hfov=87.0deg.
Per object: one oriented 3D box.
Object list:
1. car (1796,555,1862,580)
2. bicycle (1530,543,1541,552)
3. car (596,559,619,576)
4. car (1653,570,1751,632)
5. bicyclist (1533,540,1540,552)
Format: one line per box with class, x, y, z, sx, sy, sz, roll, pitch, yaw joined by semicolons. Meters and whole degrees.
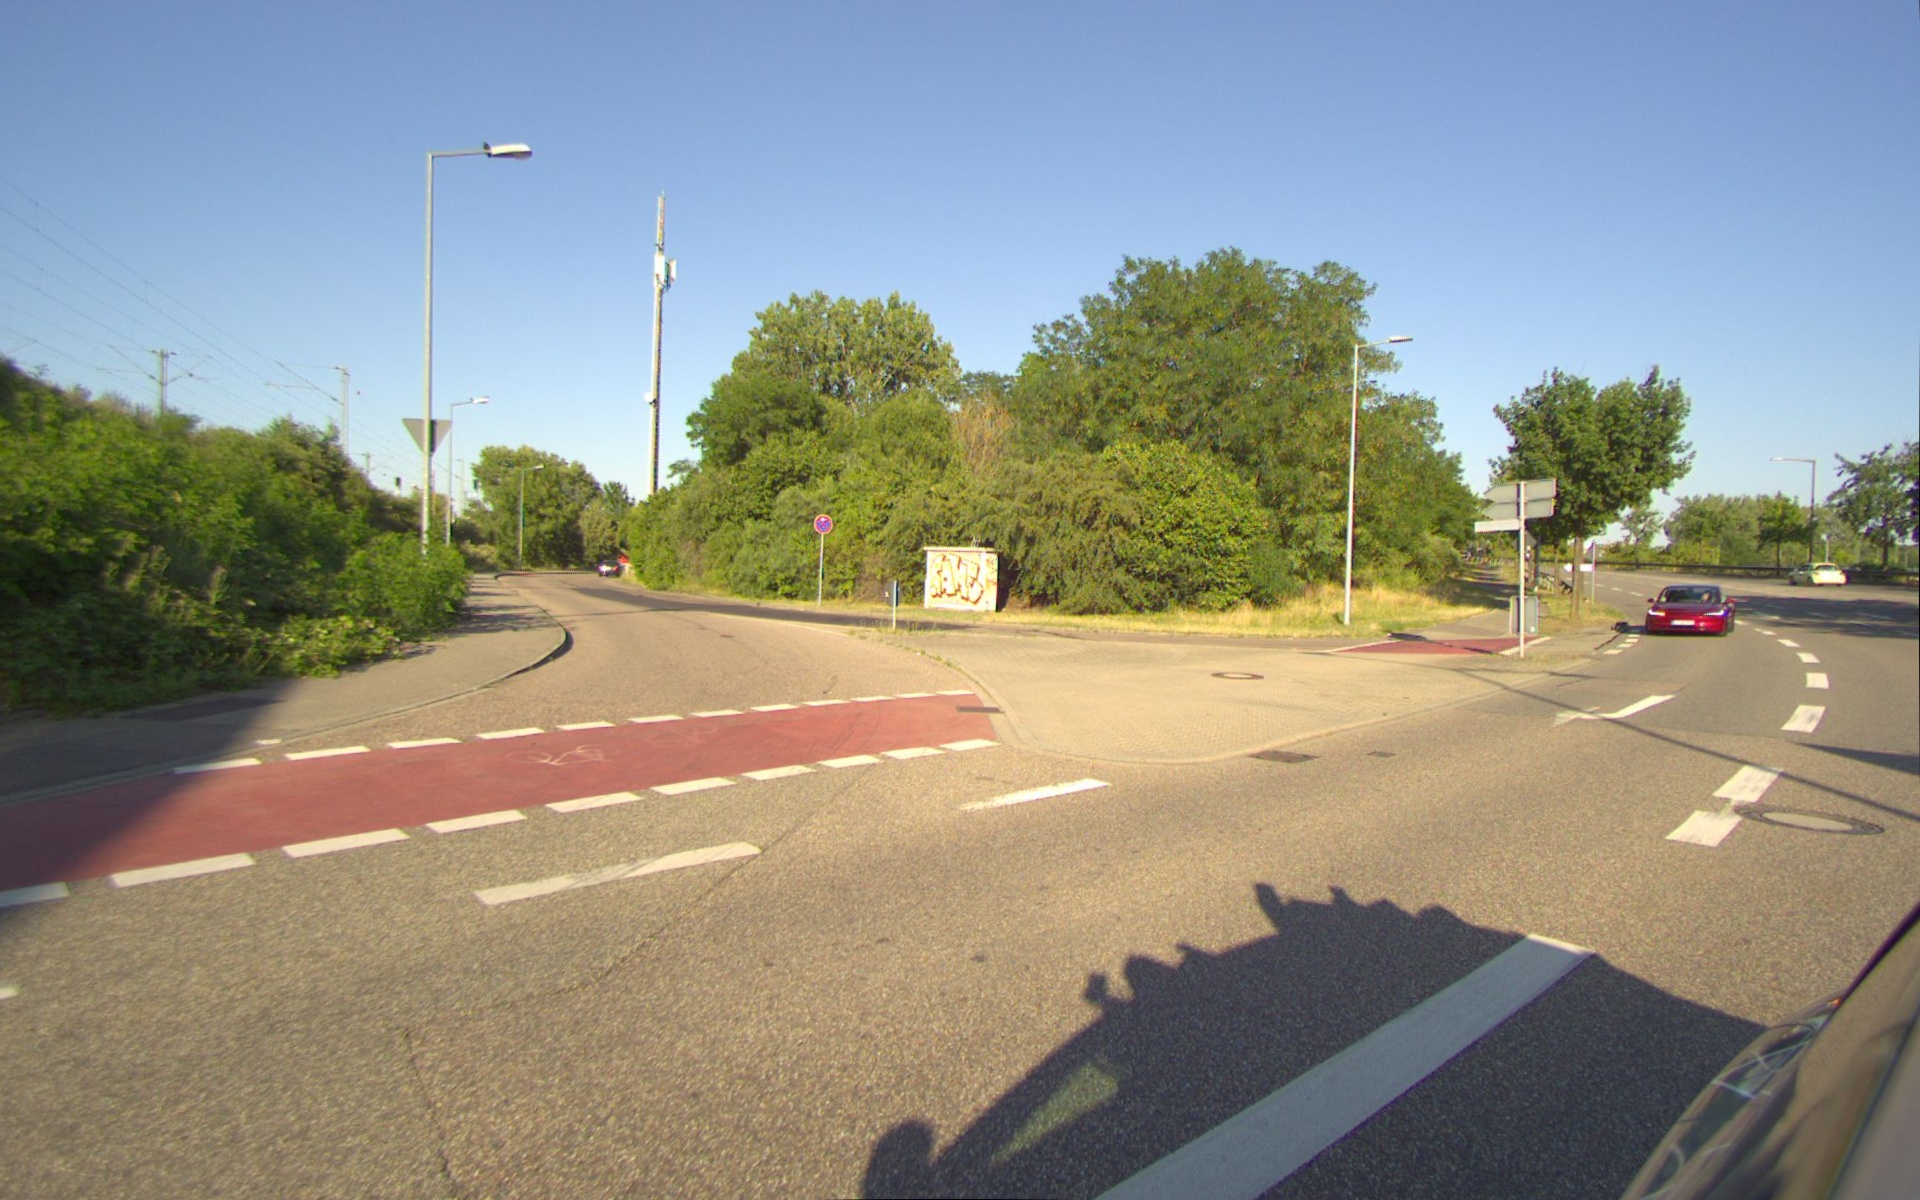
car;53.652;-2.037;62.583;1.722;1.480;3.746;0;2;17
bicycle;78.393;-7.163;137.832;0.575;1.089;2.304;3;5;14
car;-30.021;-2.791;86.242;1.618;1.465;3.648;0;2;-16
car;21.556;0.004;29.334;1.776;1.459;4.295;-2;2;43
bicyclist;78.362;-7.345;137.609;0.592;1.476;0.825;3;4;14
